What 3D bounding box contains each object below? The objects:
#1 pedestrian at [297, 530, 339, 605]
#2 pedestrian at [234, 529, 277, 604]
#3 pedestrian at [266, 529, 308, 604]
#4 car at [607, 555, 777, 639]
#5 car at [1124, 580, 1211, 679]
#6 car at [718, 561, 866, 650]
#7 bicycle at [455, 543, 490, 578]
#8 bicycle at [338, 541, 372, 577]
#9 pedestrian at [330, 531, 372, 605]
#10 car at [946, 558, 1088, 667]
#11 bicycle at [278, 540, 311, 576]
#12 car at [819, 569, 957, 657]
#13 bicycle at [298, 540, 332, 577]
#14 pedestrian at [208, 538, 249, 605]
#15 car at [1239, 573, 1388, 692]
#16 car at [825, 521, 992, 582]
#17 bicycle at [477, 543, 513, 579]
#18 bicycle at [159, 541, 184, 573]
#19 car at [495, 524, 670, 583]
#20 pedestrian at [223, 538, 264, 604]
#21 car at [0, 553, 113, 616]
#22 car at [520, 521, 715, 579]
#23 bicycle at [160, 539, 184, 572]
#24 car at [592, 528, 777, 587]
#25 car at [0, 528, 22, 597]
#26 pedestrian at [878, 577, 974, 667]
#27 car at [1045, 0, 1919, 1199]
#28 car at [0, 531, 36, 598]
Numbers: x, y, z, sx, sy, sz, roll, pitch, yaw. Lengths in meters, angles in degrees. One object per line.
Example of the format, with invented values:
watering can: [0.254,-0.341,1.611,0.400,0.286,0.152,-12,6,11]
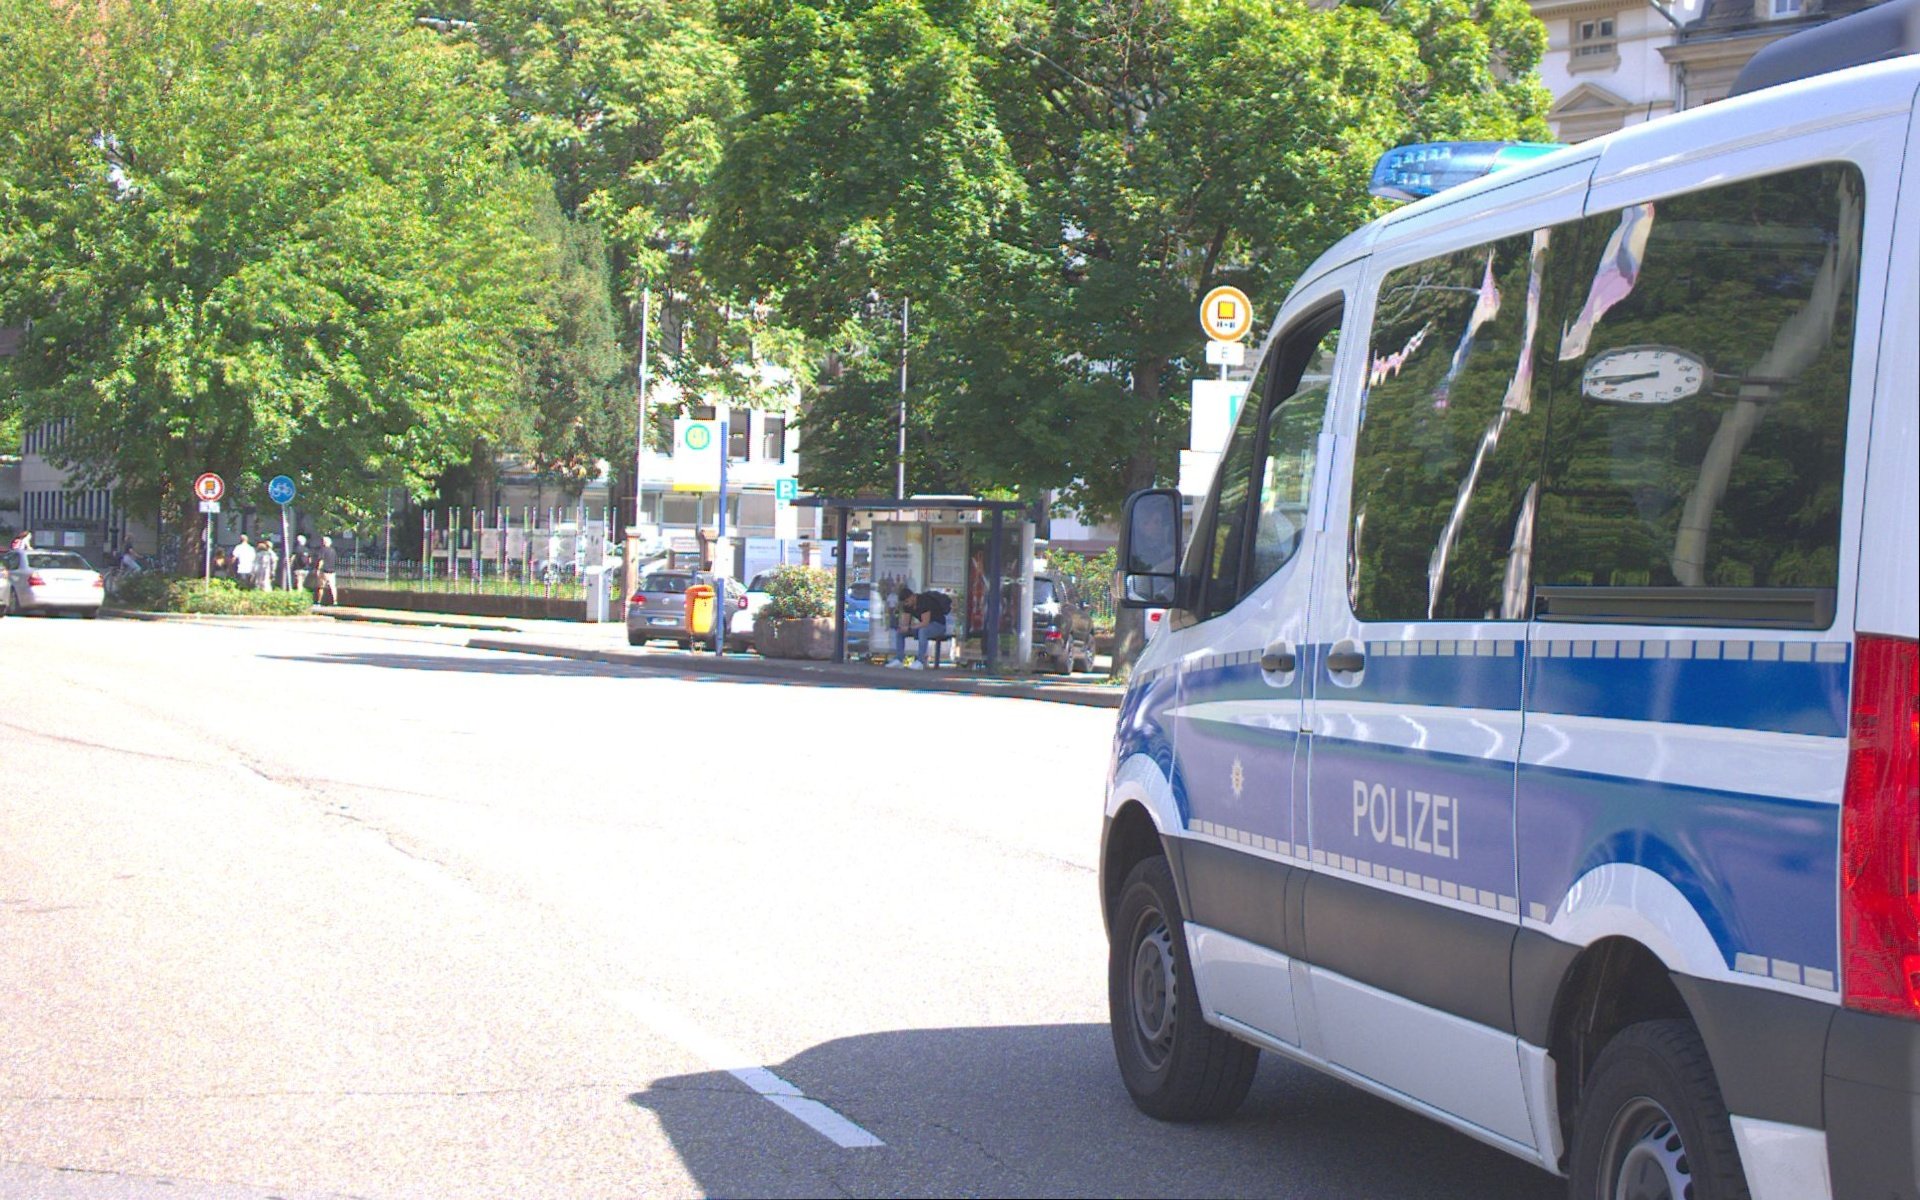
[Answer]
pedestrian: [-16.233,-0.829,86.901,0.771,1.848,0.829,2,1,-29]
pedestrian: [-17.641,-0.842,86.085,0.771,1.848,0.829,2,1,-29]
pedestrian: [-16.941,-0.835,86.492,0.771,1.848,0.829,2,1,-29]
car: [-4.988,-0.055,64.634,1.823,1.456,4.104,2,1,16]
car: [3.249,0.445,53.686,1.198,1.477,2.288,2,1,6]
car: [-3.038,0.088,62.891,1.709,1.506,3.809,2,1,12]
bicycle: [-15.229,-1.233,107.342,0.537,1.081,1.835,1,1,-26]
bicycle: [-18.623,-1.267,105.776,0.537,1.081,1.835,1,1,-26]
pedestrian: [-15.467,-0.822,87.329,0.771,1.848,0.829,2,1,-29]
car: [0.990,0.190,57.100,1.709,1.690,4.273,2,1,9]
bicycle: [-20.344,-1.285,105.063,0.537,1.081,1.835,1,1,-26]
car: [-1.236,0.212,60.369,1.709,1.437,3.810,2,1,9]
bicycle: [-19.761,-1.279,105.337,0.537,1.081,1.835,1,1,-26]
pedestrian: [-18.587,-0.731,87.337,0.771,1.657,0.829,2,1,-27]
car: [5.281,0.456,50.974,1.709,1.624,4.314,2,1,12]
car: [-1.437,-1.348,95.983,4.307,1.598,1.822,1,1,-30]
bicycle: [-14.542,-1.224,107.470,0.537,1.081,1.835,1,1,-26]
bicycle: [-24.414,-1.331,106.435,0.405,0.938,1.341,0,1,-27]
car: [-9.935,-1.228,90.484,4.143,1.471,1.878,1,1,-32]
pedestrian: [-18.387,-0.737,88.184,0.771,1.657,0.829,2,1,-28]
car: [-19.288,-0.346,72.839,1.756,1.209,3.494,2,1,-28]
car: [-8.545,-1.243,85.800,4.466,1.331,1.822,1,1,-30]
bicycle: [-24.863,-1.420,108.471,0.405,1.009,1.341,0,1,-27]
car: [-6.724,-1.037,83.887,4.084,1.331,1.822,1,1,-30]
car: [-20.005,-0.793,68.014,1.756,1.329,3.802,1,1,-32]
pedestrian: [-0.461,0.301,46.725,0.791,1.193,1.019,2,1,42]
car: [1.809,0.148,7.450,2.072,2.500,4.930,2,0,-12]
car: [-22.078,-0.839,77.209,1.756,1.456,3.646,2,1,-28]
